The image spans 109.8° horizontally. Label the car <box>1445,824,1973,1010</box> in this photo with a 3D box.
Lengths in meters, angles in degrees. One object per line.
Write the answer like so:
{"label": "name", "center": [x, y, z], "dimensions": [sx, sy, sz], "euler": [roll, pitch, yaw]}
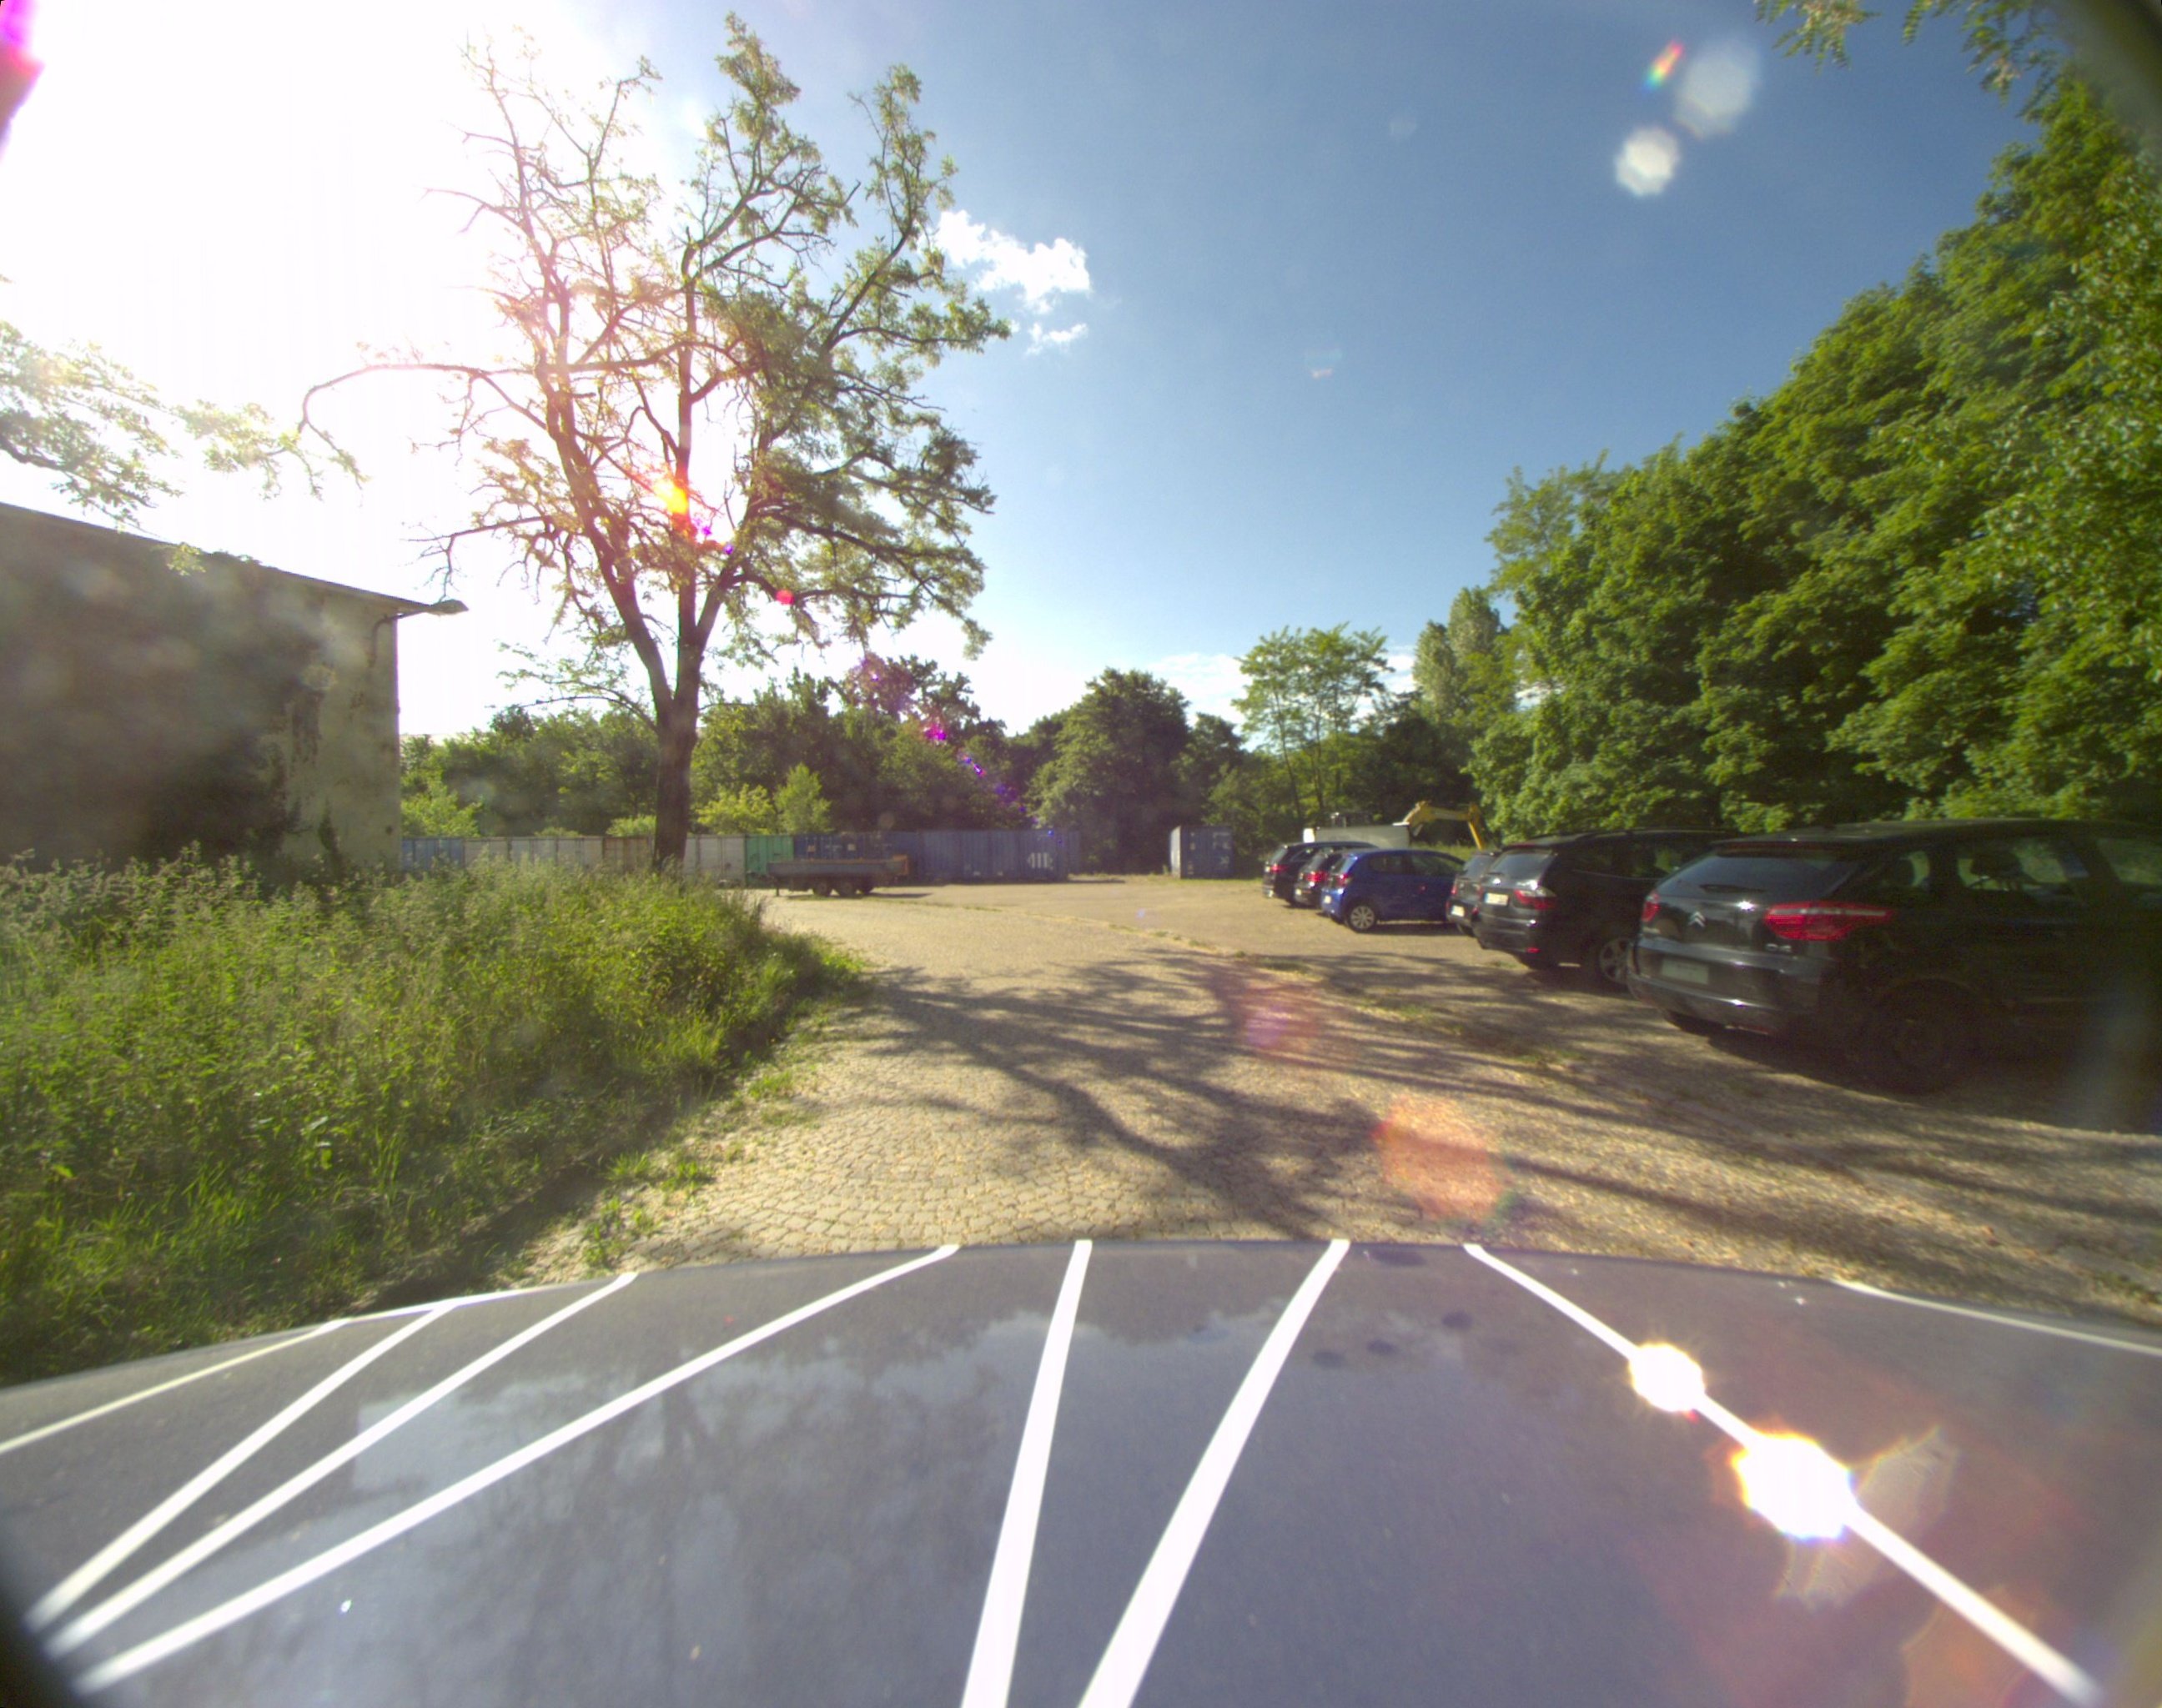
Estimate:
{"label": "car", "center": [6.693, 0.618, 8.508], "dimensions": [4.269, 1.622, 1.880], "euler": [-3, 1, 1]}

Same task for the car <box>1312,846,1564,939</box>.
{"label": "car", "center": [6.367, 0.663, 13.921], "dimensions": [3.785, 1.450, 1.786], "euler": [-2, 1, 6]}

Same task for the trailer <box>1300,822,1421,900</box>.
{"label": "trailer", "center": [7.901, 0.182, 21.730], "dimensions": [2.846, 2.039, 1.825], "euler": [-2, 1, 6]}

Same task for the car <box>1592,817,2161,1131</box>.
{"label": "car", "center": [6.352, 0.655, 5.287], "dimensions": [4.270, 1.580, 1.830], "euler": [-4, 0, 0]}

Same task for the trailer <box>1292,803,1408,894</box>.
{"label": "trailer", "center": [8.382, -0.184, 23.970], "dimensions": [2.847, 2.524, 2.266], "euler": [-4, 1, 6]}

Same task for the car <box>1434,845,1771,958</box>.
{"label": "car", "center": [7.482, 0.670, 11.282], "dimensions": [3.719, 1.443, 1.745], "euler": [-2, 1, 10]}

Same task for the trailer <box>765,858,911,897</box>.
{"label": "trailer", "center": [-9.599, 0.924, 30.333], "dimensions": [4.856, 1.406, 2.650], "euler": [0, 1, 5]}

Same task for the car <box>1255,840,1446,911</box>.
{"label": "car", "center": [6.629, 0.496, 19.084], "dimensions": [4.126, 1.581, 1.971], "euler": [-2, 1, 5]}

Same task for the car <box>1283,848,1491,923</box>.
{"label": "car", "center": [6.528, 0.649, 16.556], "dimensions": [3.785, 1.403, 1.895], "euler": [-2, 1, 5]}
